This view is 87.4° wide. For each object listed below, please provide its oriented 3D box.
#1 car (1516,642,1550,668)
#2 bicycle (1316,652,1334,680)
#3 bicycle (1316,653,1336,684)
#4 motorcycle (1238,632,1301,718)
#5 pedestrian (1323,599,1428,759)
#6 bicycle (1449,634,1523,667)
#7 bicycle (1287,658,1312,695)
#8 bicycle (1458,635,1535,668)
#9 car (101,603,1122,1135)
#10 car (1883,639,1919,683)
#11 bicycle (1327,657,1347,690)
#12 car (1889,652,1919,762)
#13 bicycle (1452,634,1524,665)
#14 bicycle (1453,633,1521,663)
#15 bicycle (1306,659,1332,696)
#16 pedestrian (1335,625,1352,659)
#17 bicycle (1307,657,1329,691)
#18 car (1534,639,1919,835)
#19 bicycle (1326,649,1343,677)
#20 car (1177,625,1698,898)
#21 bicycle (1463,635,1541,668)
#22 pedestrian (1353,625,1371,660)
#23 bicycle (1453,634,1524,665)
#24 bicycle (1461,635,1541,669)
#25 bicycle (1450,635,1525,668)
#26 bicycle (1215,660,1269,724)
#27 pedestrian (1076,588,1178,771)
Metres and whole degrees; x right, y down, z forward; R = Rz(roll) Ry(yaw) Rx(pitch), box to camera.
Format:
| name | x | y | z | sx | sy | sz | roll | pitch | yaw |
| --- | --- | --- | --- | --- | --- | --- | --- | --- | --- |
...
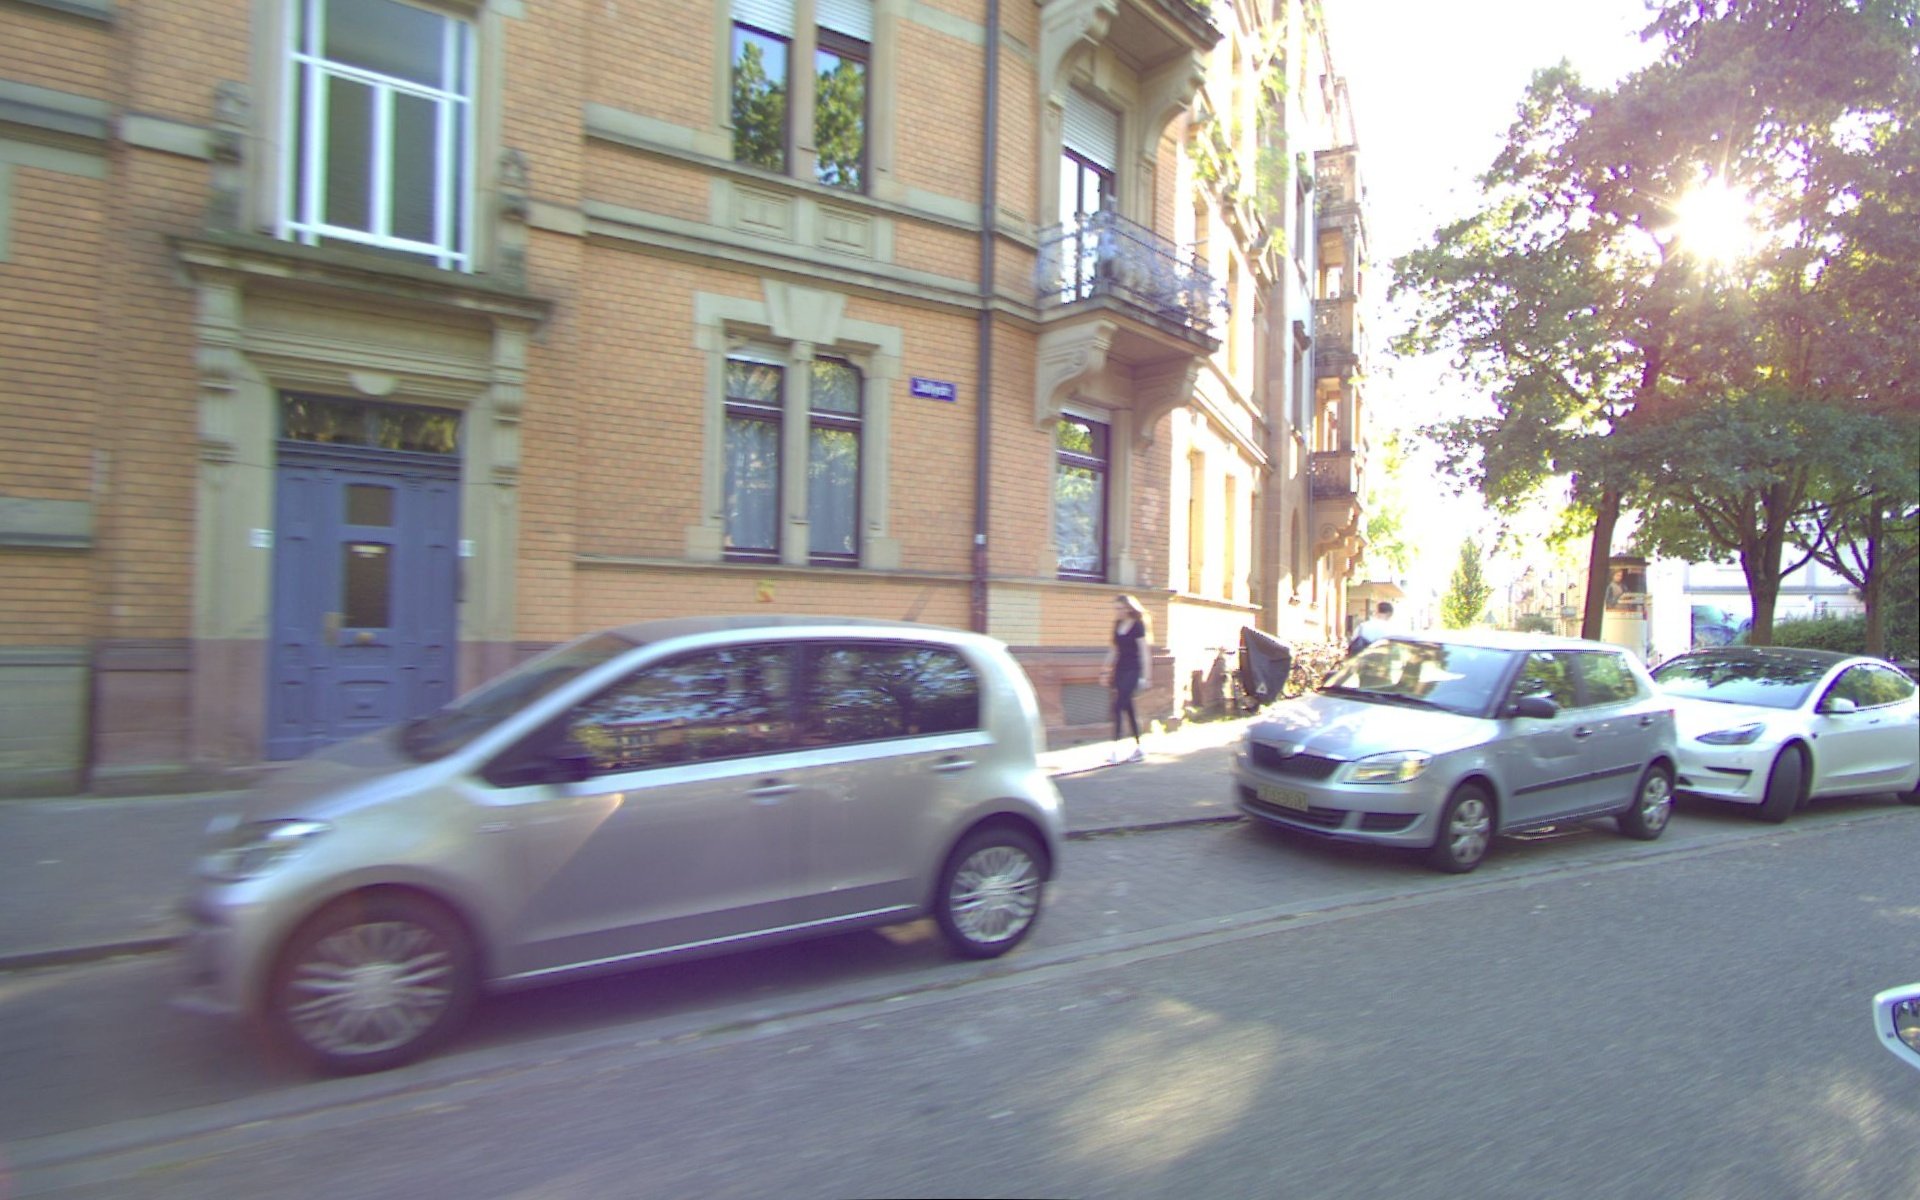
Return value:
| name | x | y | z | sx | sy | sz | roll | pitch | yaw |
| --- | --- | --- | --- | --- | --- | --- | --- | --- | --- |
| car | 42.111 | 3.989 | 73.839 | 1.963 | 1.808 | 3.995 | 0 | -2 | 27 |
| bicycle | 10.243 | 1.839 | 28.170 | 0.362 | 0.742 | 1.509 | 0 | -2 | 24 |
| bicycle | 9.487 | 1.759 | 26.009 | 0.362 | 0.742 | 1.509 | 0 | -2 | 24 |
| motorcycle | 5.349 | 1.247 | 17.289 | 0.795 | 1.371 | 1.897 | 0 | -1 | 25 |
| pedestrian | 4.763 | 0.876 | 11.521 | 0.902 | 1.741 | 0.669 | 2 | 0 | -33 |
| bicycle | 27.268 | 2.605 | 52.083 | 3.319 | 1.464 | 0.880 | 2 | -1 | 29 |
| bicycle | 7.326 | 1.640 | 21.663 | 0.362 | 0.742 | 1.509 | 0 | -2 | 24 |
| bicycle | 26.730 | 2.549 | 50.087 | 3.319 | 1.464 | 0.880 | 1 | -1 | 29 |
| car | -1.254 | 0.822 | 4.522 | 3.664 | 1.495 | 1.676 | 2 | 0 | -30 |
| car | 33.928 | 2.065 | 33.471 | 1.898 | 1.470 | 4.267 | 1 | -2 | -27 |
| bicycle | 9.156 | 1.780 | 24.375 | 0.362 | 0.742 | 1.509 | 0 | -2 | 24 |
| car | 15.041 | 1.512 | 13.995 | 4.217 | 1.453 | 1.769 | 2 | 0 | -28 |
| bicycle | 28.173 | 2.635 | 53.625 | 3.319 | 1.464 | 0.880 | 2 | -1 | 29 |
| bicycle | 29.454 | 2.668 | 56.198 | 3.319 | 1.464 | 0.880 | 2 | -1 | 29 |
| bicycle | 7.730 | 1.648 | 21.582 | 0.407 | 0.742 | 1.509 | 0 | -2 | 24 |
| pedestrian | 21.264 | 2.329 | 55.693 | 0.836 | 1.899 | 0.890 | 0 | -2 | 26 |
| bicycle | 8.531 | 1.757 | 23.919 | 0.362 | 0.742 | 1.509 | 0 | -2 | 24 |
| car | 7.809 | 1.188 | 9.869 | 4.217 | 1.495 | 1.769 | 2 | 0 | -28 |
| bicycle | 11.081 | 1.855 | 29.729 | 0.362 | 0.742 | 1.509 | 0 | 0 | 24 |
| car | 3.631 | 0.992 | 7.474 | 3.839 | 1.495 | 1.674 | 2 | 0 | -32 |
| bicycle | 26.424 | 2.500 | 49.019 | 3.319 | 1.464 | 0.880 | 1 | -1 | 29 |
| pedestrian | 22.252 | 2.370 | 55.575 | 0.836 | 1.899 | 0.890 | 0 | -2 | 26 |
| bicycle | 28.633 | 2.650 | 54.458 | 3.319 | 1.464 | 0.880 | 2 | -1 | 29 |
| bicycle | 25.743 | 2.478 | 47.862 | 3.319 | 1.464 | 0.880 | 1 | -1 | 29 |
| bicycle | 26.877 | 2.592 | 51.206 | 3.319 | 1.464 | 0.880 | 2 | -1 | 29 |
| bicycle | 4.351 | 1.381 | 15.424 | 0.515 | 0.859 | 1.898 | 0 | -1 | 25 |
| pedestrian | 1.675 | 0.768 | 10.084 | 0.716 | 1.741 | 0.667 | 2 | 0 | -41 |
